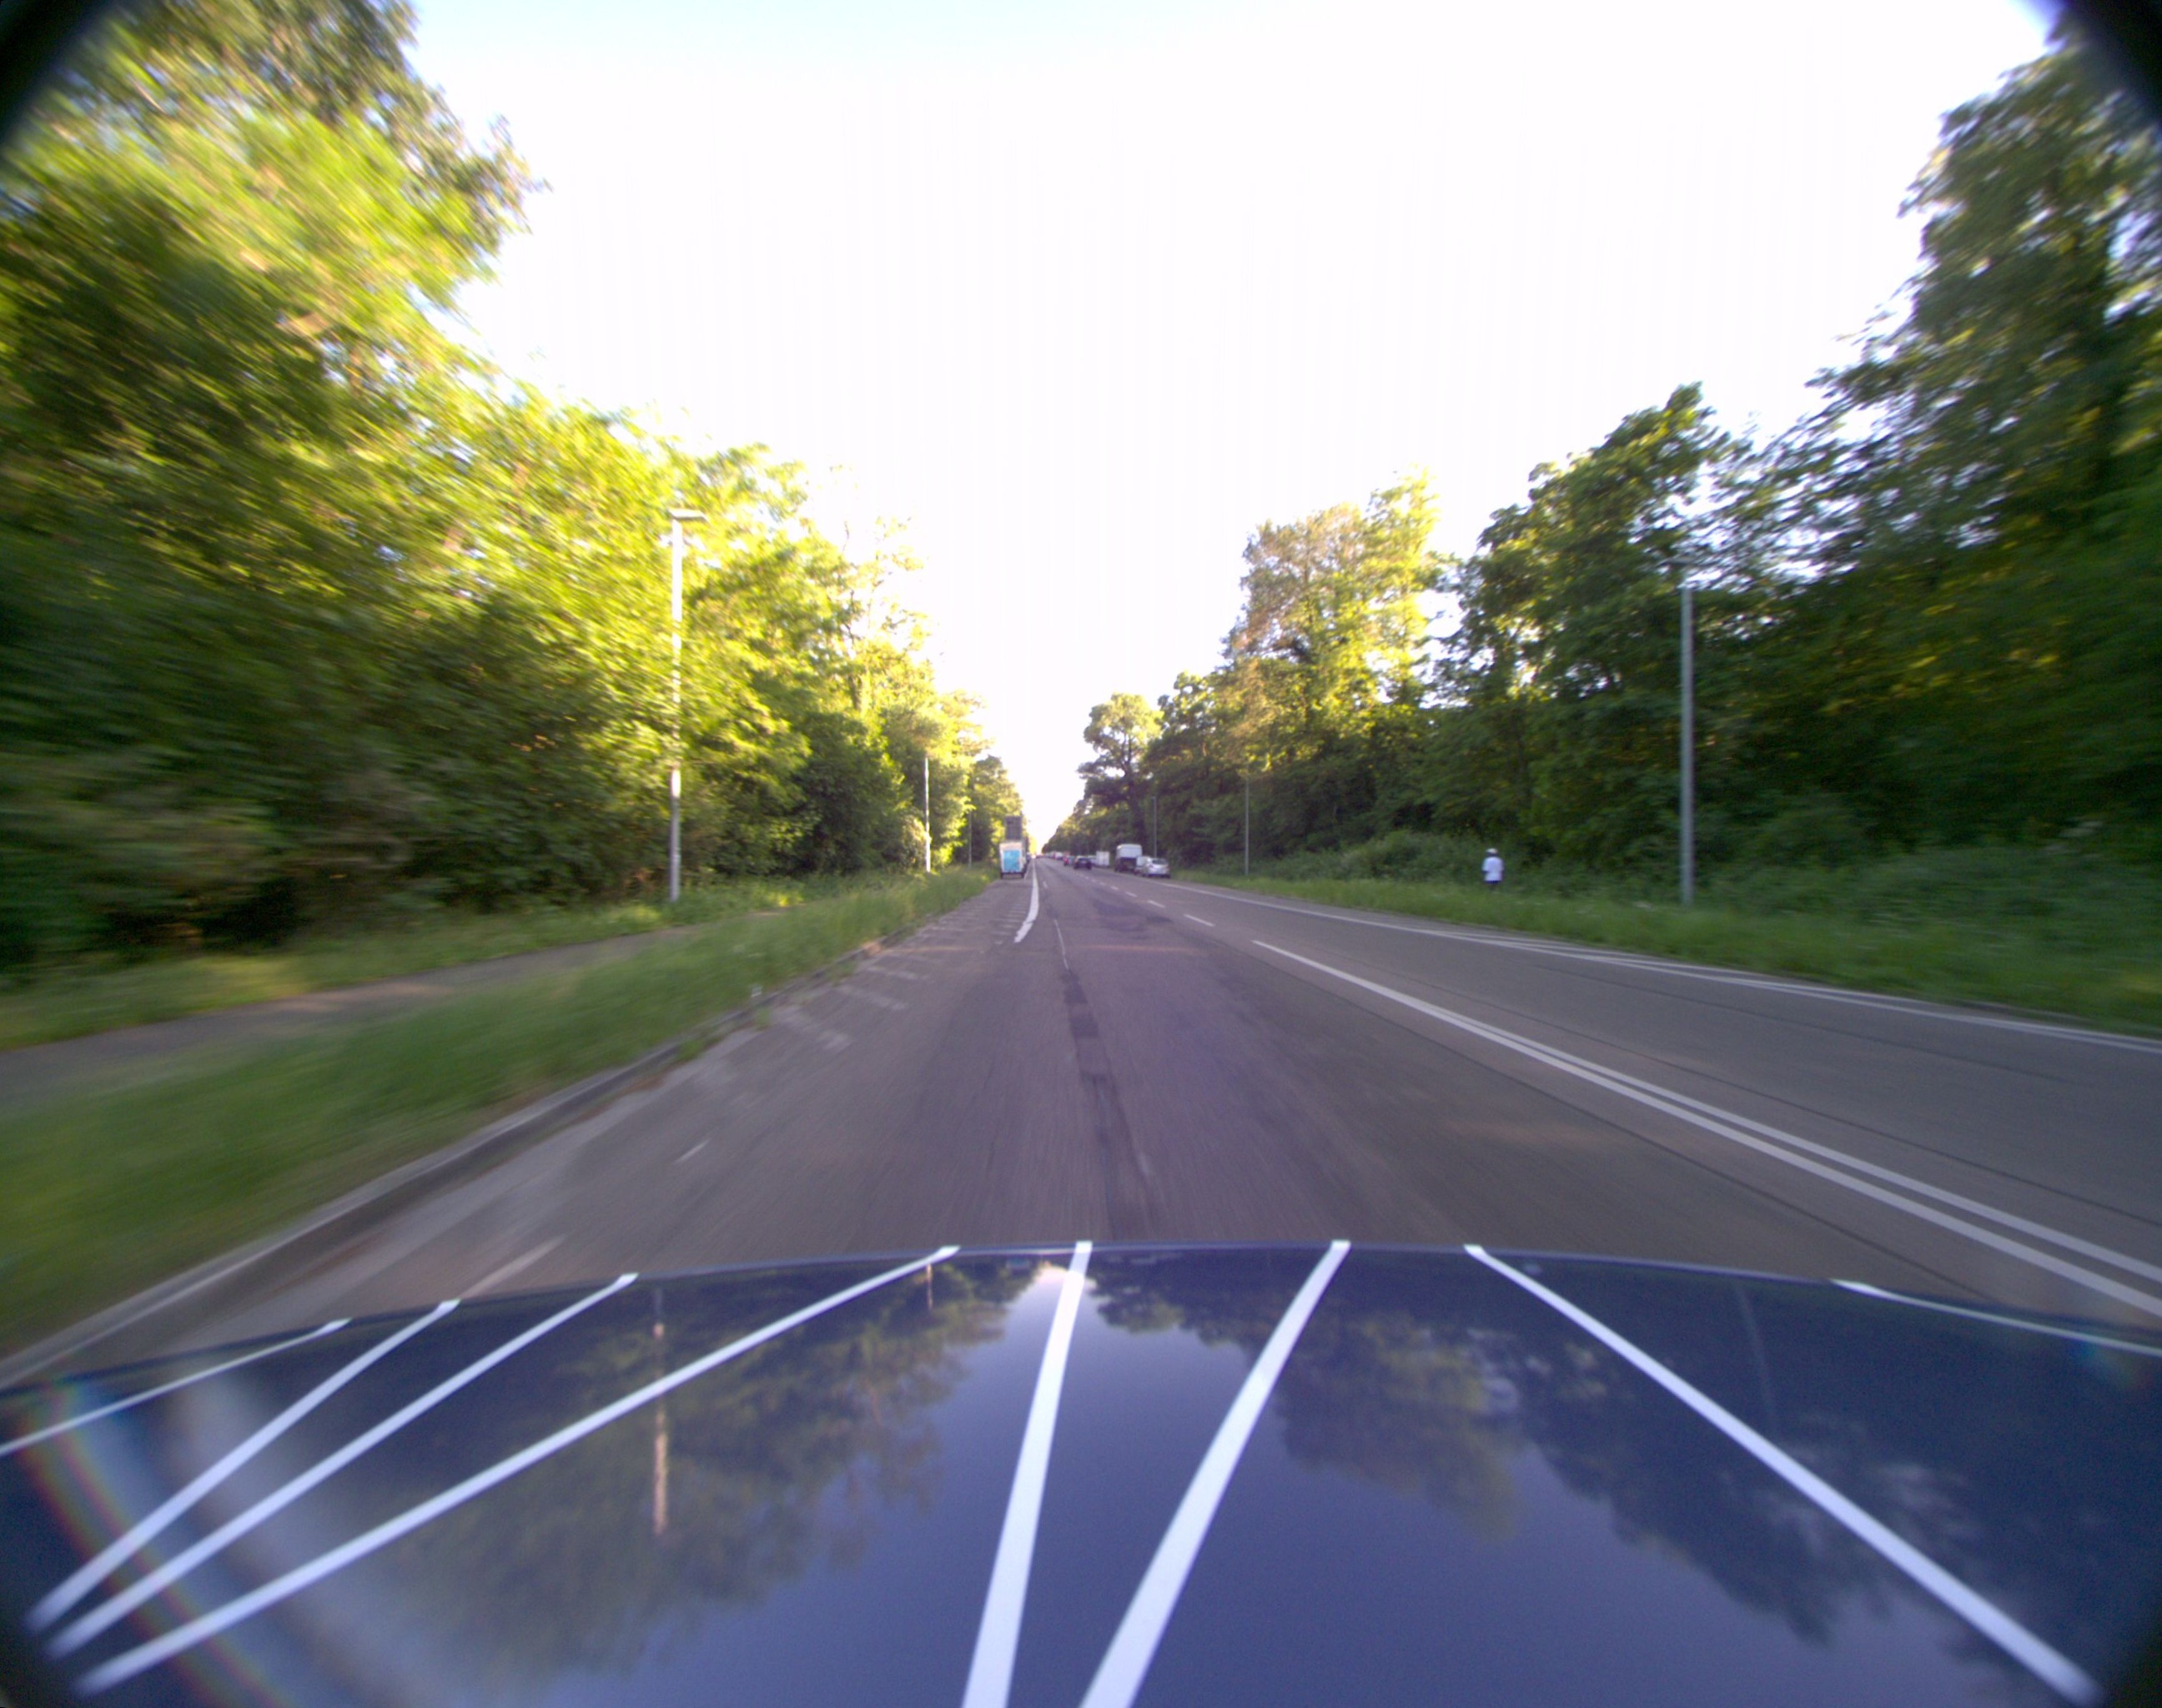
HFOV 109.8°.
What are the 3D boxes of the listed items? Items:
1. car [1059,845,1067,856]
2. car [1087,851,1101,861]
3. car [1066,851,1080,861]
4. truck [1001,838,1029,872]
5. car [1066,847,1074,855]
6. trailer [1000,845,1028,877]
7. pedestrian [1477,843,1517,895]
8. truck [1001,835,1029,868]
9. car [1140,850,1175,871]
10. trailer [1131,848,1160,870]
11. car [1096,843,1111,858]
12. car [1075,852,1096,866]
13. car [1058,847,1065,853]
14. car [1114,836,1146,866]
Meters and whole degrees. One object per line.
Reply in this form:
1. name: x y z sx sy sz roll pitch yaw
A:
1. car: -5.597 -1.196 241.138 2.280 3.481 5.497 -2 0 -1
2. car: 2.003 0.283 119.416 1.807 1.496 3.910 1 1 -4
3. car: -1.146 0.266 109.192 1.807 1.455 3.910 1 1 -4
4. truck: -6.069 0.054 70.338 2.390 2.855 5.595 -3 1 -4
5. car: -3.168 -0.837 213.170 1.999 2.002 3.998 -1 0 -6
6. trailer: -4.813 0.471 54.847 1.870 2.165 4.126 -2 1 -4
7. pedestrian: 12.597 0.438 23.021 0.713 1.556 0.826 0 1 -1
8. truck: -6.772 -0.318 78.188 2.707 3.219 7.124 1 1 -4
9. car: 5.785 0.467 57.760 1.915 1.455 4.009 1 1 -4
10. trailer: 5.322 0.388 62.951 1.807 1.719 3.645 1 1 -4
11. car: 3.121 -0.529 106.887 1.692 2.089 4.630 1 1 -4
12. car: 0.446 0.563 83.758 1.915 1.455 4.355 1 1 -4
13. car: -6.565 -1.430 256.894 2.095 1.925 3.999 0 1 -2
14. car: 4.785 -0.278 75.145 2.461 2.831 4.796 1 1 -4
